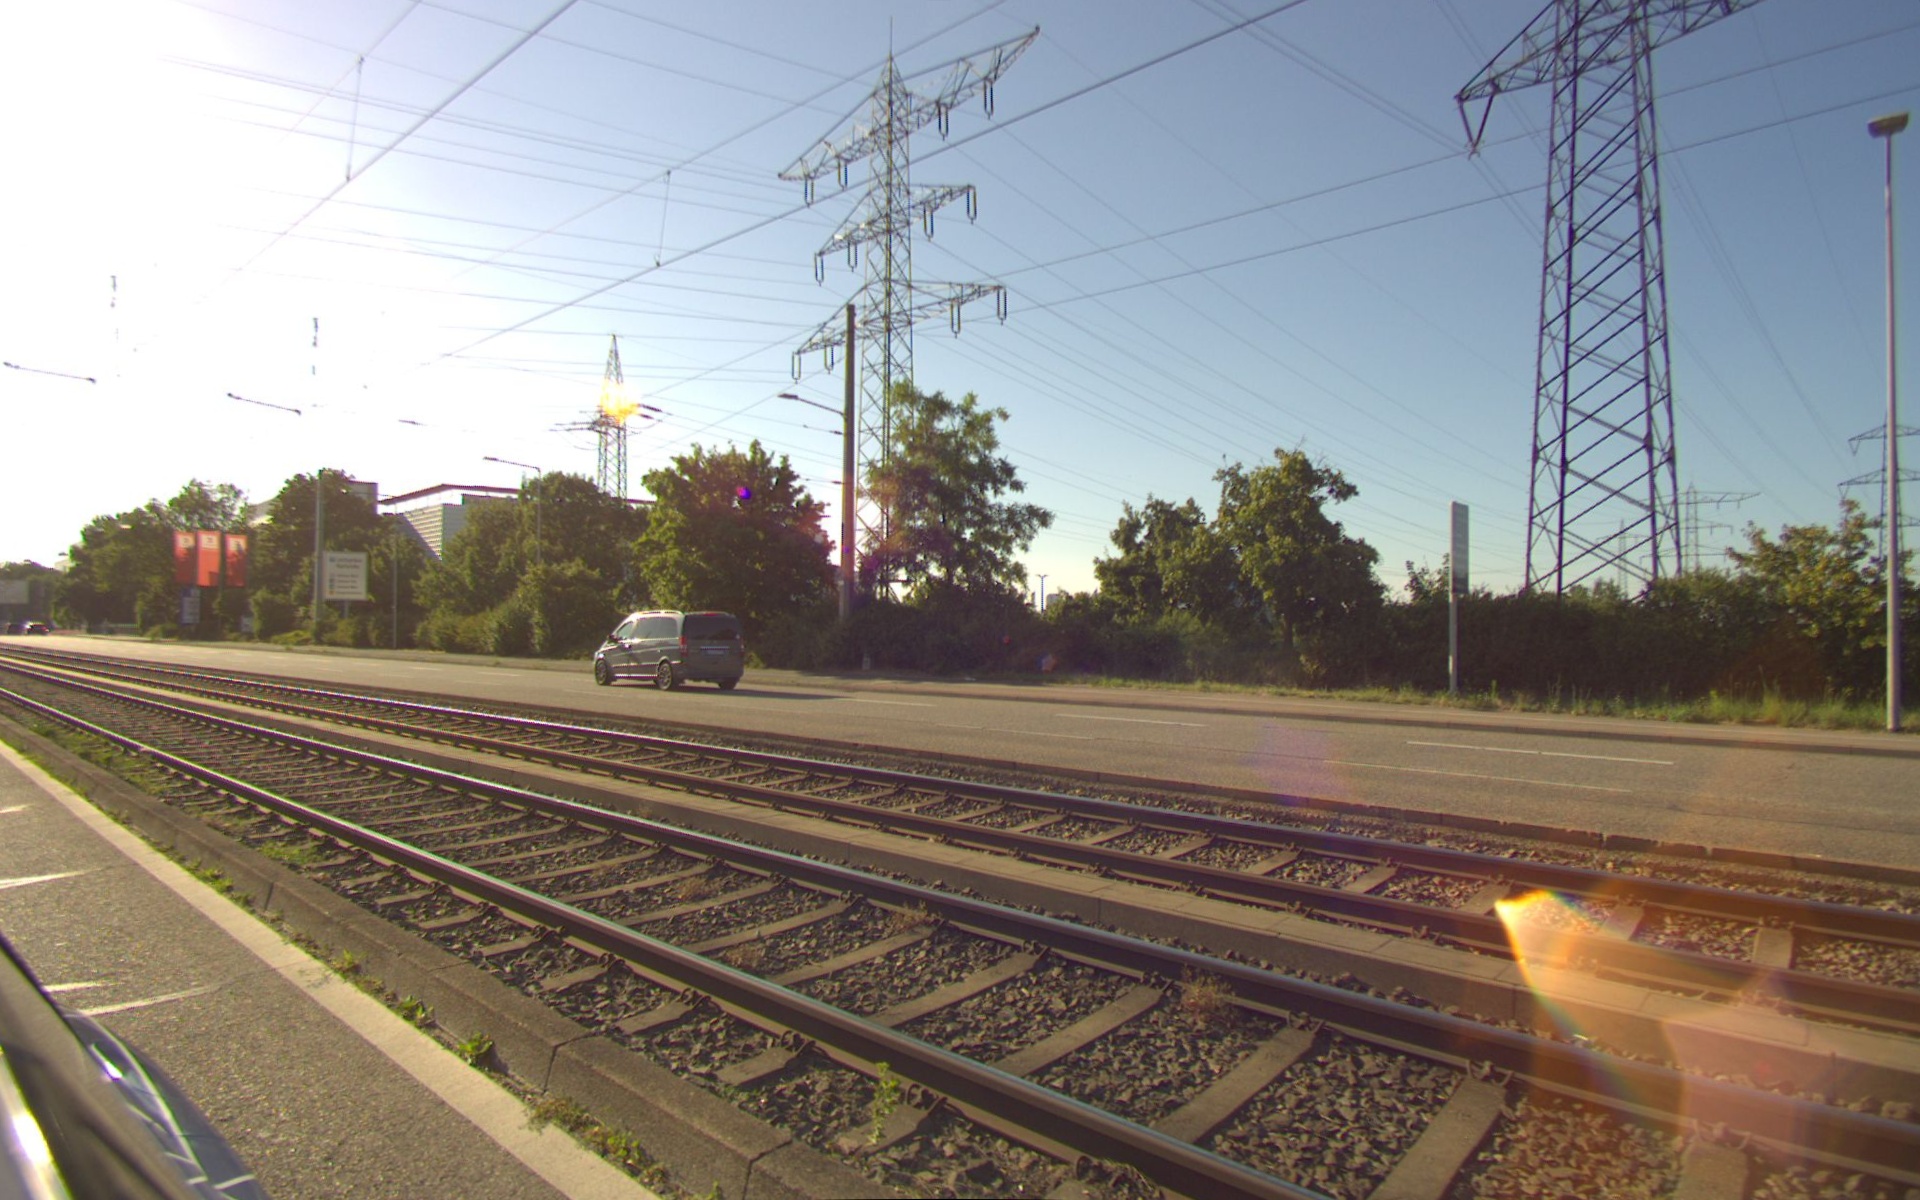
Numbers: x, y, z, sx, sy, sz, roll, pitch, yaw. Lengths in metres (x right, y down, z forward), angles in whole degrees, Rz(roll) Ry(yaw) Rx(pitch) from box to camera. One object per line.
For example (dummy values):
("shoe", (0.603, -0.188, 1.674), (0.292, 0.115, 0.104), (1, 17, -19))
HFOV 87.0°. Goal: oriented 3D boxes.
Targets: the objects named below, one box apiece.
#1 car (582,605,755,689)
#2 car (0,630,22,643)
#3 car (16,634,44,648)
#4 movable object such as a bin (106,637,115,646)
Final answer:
("car", (-7.453, 1.127, 25.615), (4.860, 1.937, 1.972), (-1, -2, 43))
("car", (-138.443, 5.288, 147.669), (4.349, 1.809, 1.972), (-1, -3, 42))
("car", (-114.921, 5.049, 124.999), (4.680, 1.637, 1.973), (-1, -2, 40))
("movable object such as a bin", (-90.556, 4.407, 107.888), (1.083, 0.973, 0.606), (-1, 0, 42))
